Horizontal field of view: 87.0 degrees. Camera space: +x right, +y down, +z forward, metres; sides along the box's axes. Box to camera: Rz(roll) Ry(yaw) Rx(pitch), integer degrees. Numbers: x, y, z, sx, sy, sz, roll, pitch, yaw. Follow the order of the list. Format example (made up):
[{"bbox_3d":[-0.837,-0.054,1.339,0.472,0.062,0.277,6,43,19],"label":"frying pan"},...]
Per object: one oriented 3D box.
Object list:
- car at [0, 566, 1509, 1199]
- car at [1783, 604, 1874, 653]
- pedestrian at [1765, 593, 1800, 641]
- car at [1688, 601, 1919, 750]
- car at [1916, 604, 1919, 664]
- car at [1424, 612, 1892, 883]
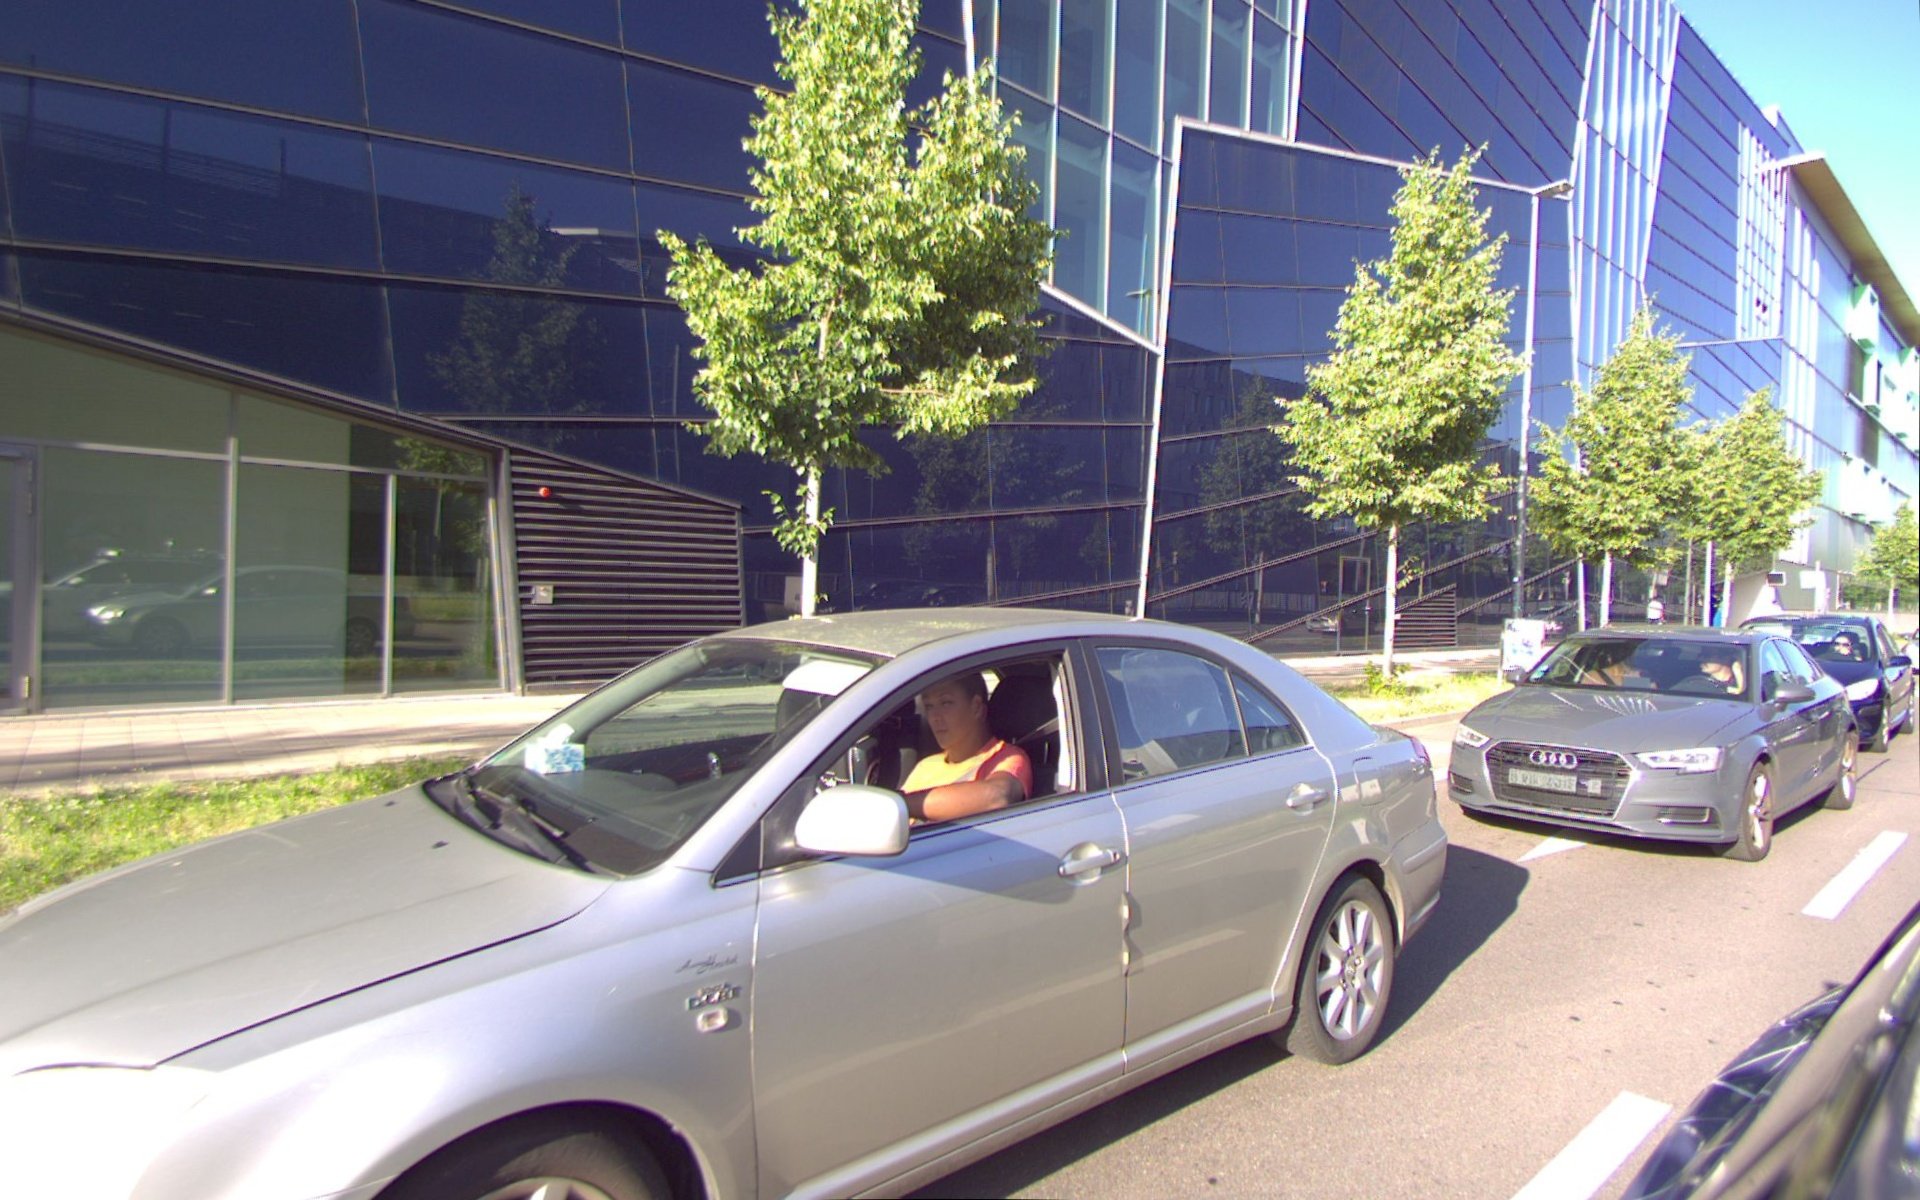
[{"bbox_3d":[-0.232,0.696,3.112,4.544,1.500,1.750,0,2,-39],"label":"car"},{"bbox_3d":[30.870,0.979,35.919,4.633,1.516,1.739,1,3,-41],"label":"car"},{"bbox_3d":[33.383,0.674,41.087,0.889,1.846,0.829,1,4,-41],"label":"pedestrian"},{"bbox_3d":[10.470,0.795,12.343,3.902,1.497,1.752,1,0,-41],"label":"car"},{"bbox_3d":[25.747,0.883,25.741,3.358,1.497,1.752,1,0,-41],"label":"car"},{"bbox_3d":[5.336,0.828,7.527,4.187,1.409,1.750,0,1,-39],"label":"car"}]
